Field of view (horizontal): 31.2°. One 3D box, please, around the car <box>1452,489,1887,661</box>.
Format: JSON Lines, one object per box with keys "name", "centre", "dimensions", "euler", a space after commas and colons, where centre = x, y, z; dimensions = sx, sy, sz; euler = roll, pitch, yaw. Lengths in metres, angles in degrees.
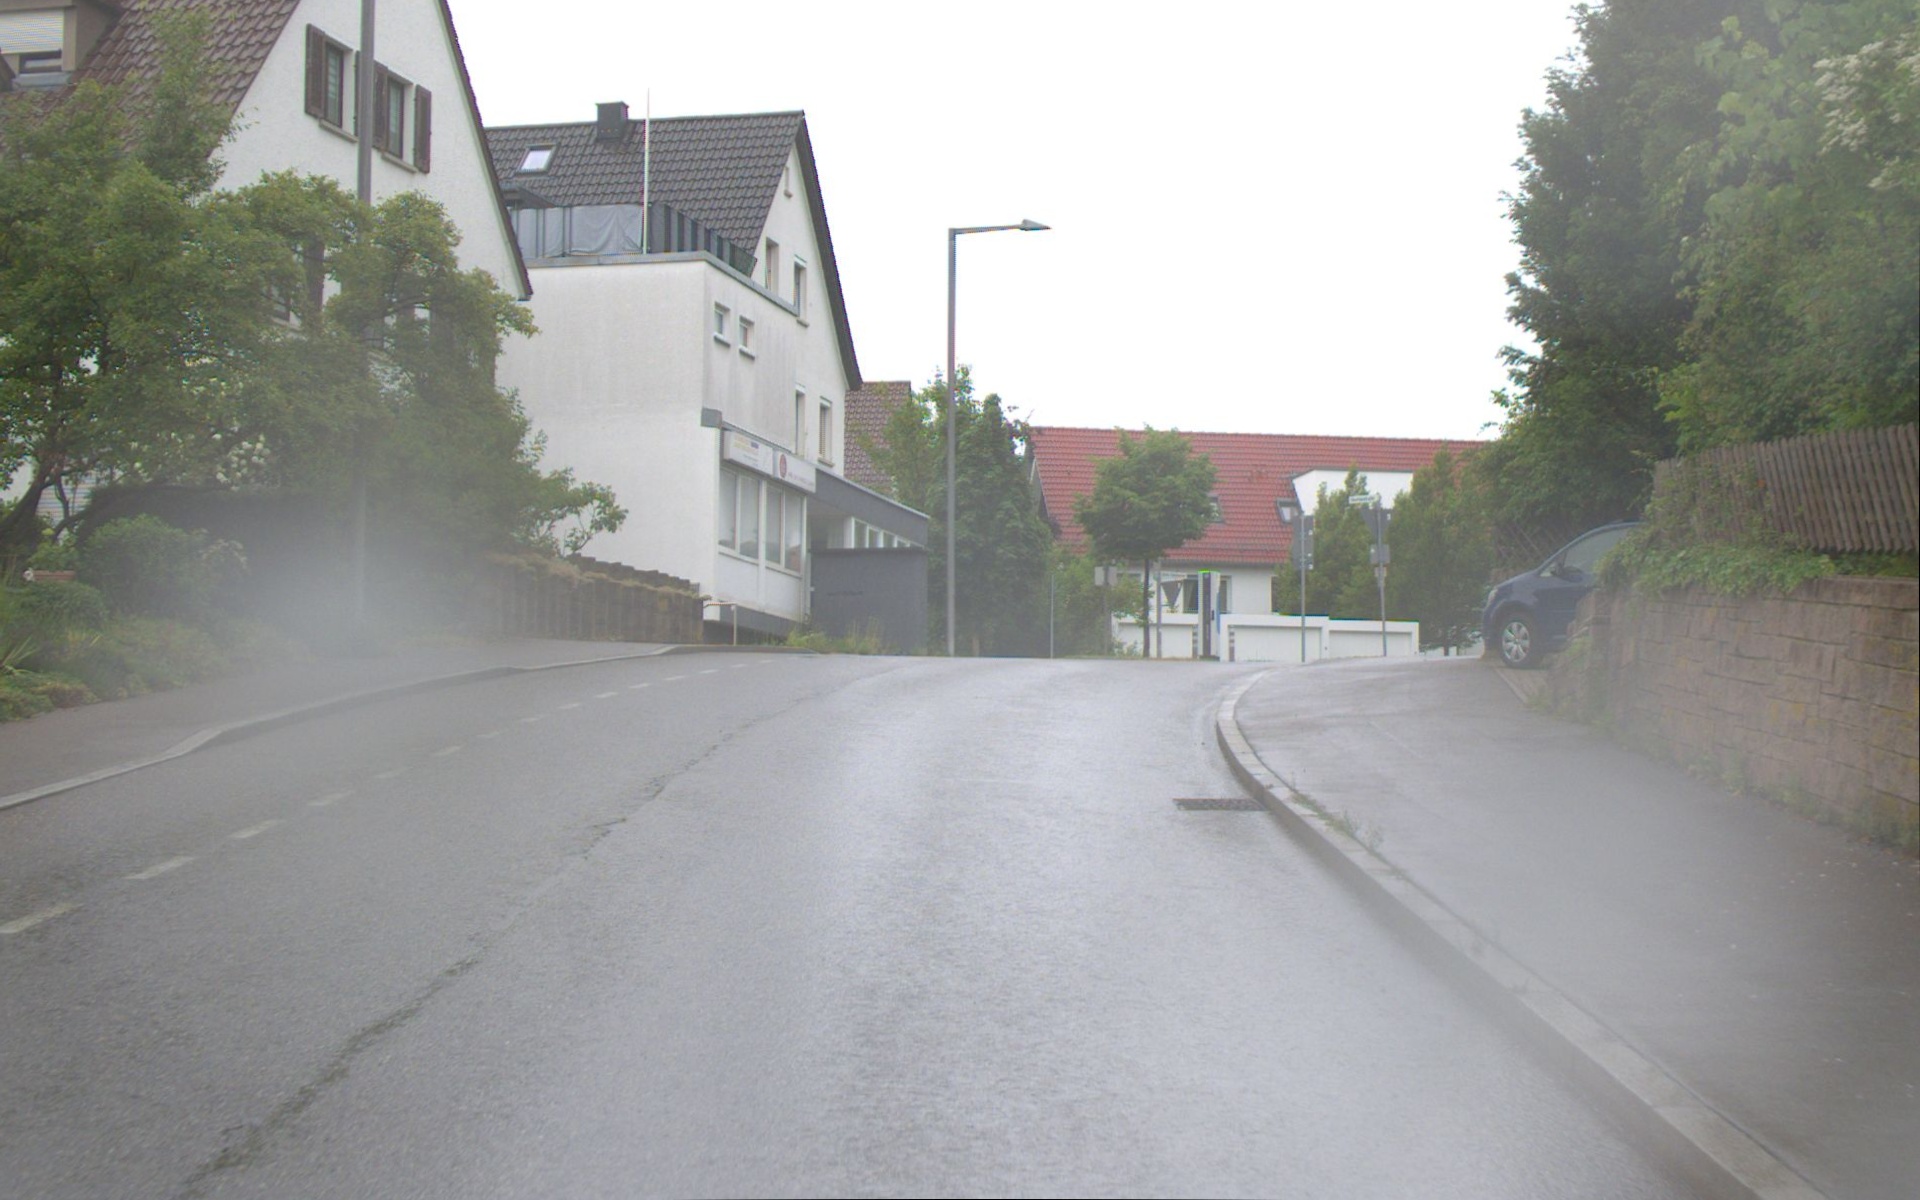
{"name": "car", "centre": [7.604, -0.242, 37.194], "dimensions": [1.851, 1.601, 4.338], "euler": [-6, 2, -38]}
